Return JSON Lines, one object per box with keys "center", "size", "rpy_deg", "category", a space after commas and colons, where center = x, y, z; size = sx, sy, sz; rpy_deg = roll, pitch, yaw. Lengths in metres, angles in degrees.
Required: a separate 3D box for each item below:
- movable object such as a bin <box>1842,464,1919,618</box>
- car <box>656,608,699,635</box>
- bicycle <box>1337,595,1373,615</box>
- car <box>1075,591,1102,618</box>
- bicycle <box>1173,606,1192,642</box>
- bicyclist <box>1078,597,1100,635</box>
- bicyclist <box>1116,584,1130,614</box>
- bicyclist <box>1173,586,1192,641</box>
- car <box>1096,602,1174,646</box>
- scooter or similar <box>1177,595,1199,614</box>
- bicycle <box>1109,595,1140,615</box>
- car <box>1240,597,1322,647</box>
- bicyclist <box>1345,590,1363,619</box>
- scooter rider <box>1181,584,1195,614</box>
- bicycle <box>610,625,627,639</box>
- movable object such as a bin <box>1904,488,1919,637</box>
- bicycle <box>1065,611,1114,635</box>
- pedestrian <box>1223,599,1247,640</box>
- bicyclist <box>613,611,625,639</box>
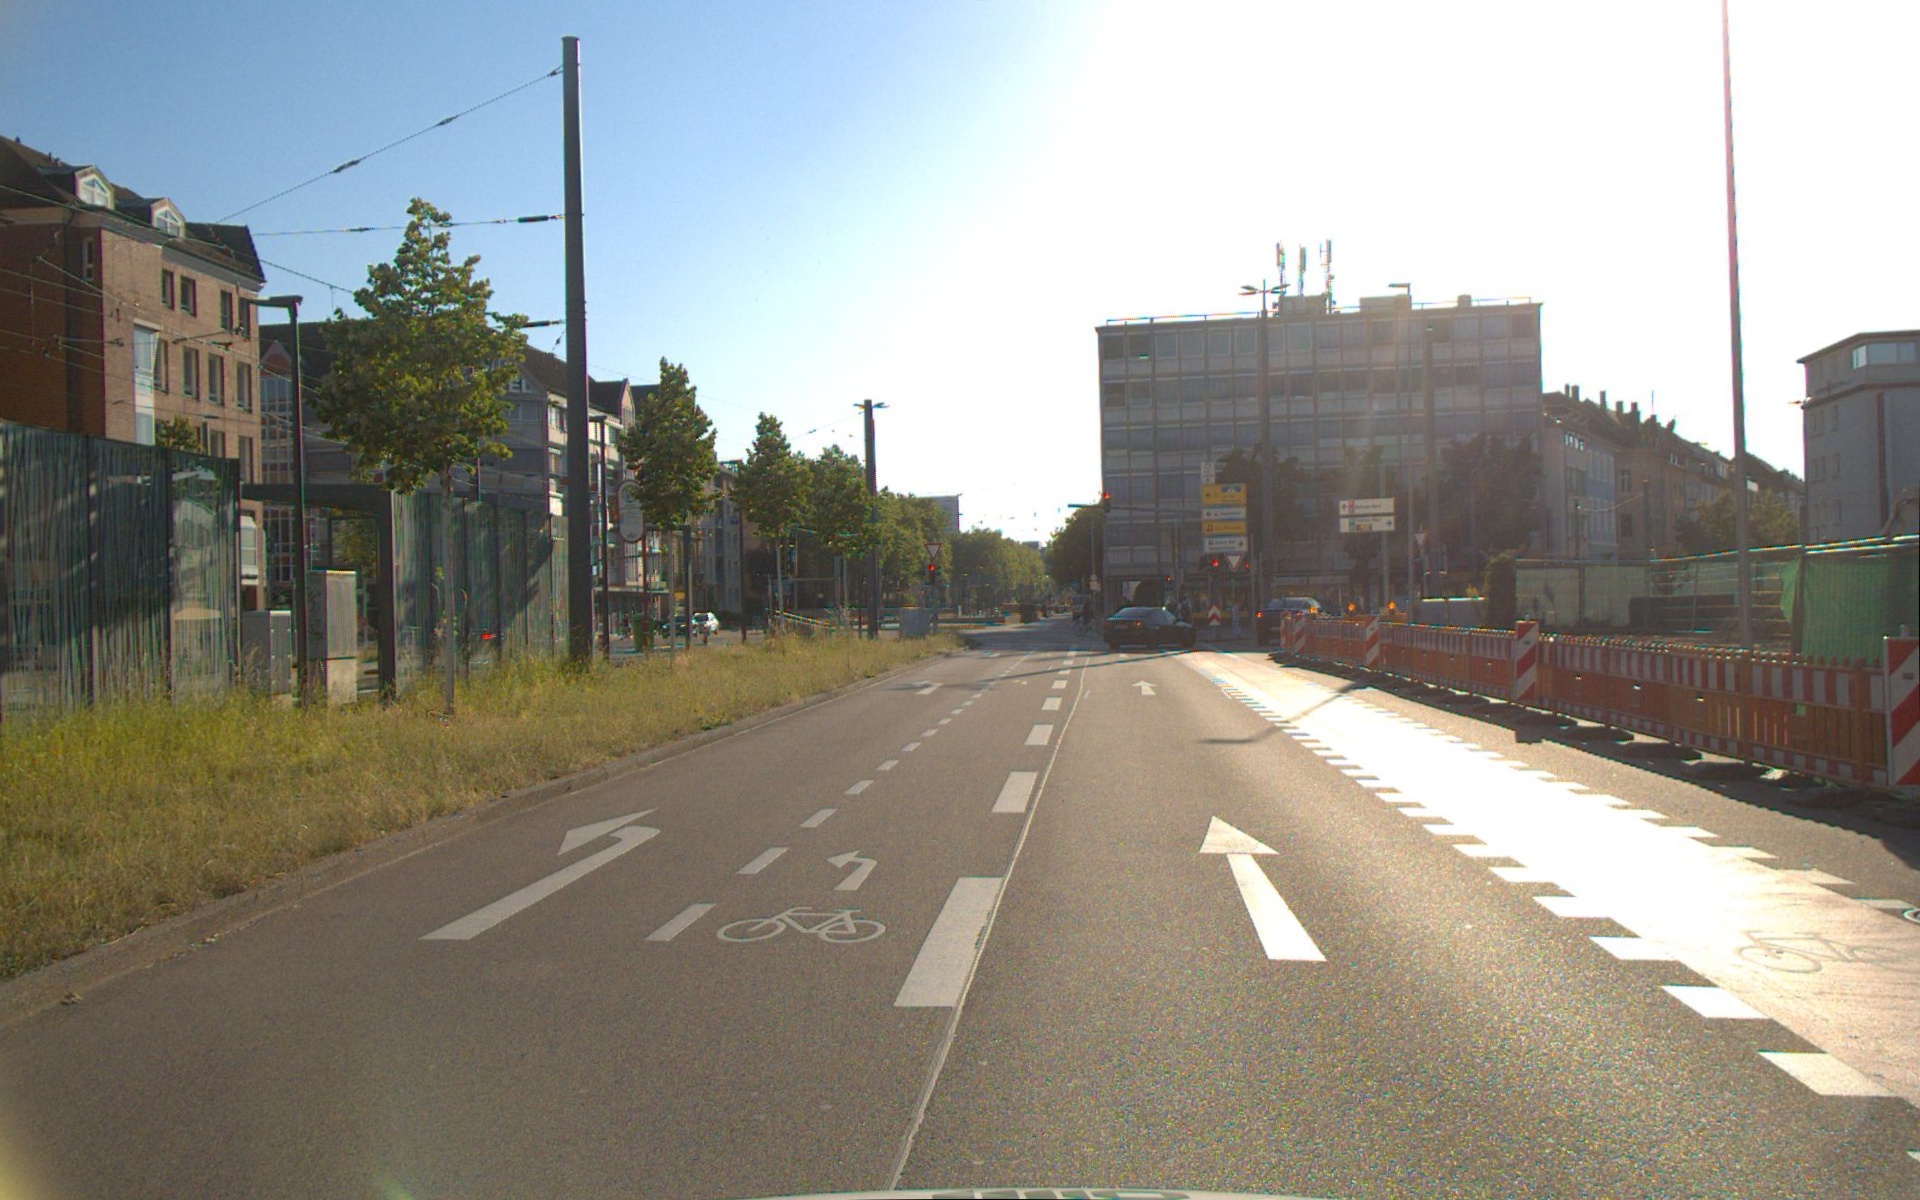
{"center": [24.665, -1.476, 39.777], "size": [5.947, 3.620, 2.856], "rpy_deg": [-2, 0, 30], "category": "movable object such as a bin"}
{"center": [-20.416, 1.537, 119.512], "size": [1.951, 1.892, 4.003], "rpy_deg": [-2, 0, 7], "category": "car"}
{"center": [24.285, 0.316, 101.632], "size": [2.051, 1.157, 0.658], "rpy_deg": [-2, 0, 0], "category": "bicycle"}
{"center": [12.412, 0.458, 160.080], "size": [2.434, 2.434, 5.937], "rpy_deg": [-3, -1, 4], "category": "car"}
{"center": [8.386, 0.888, 62.329], "size": [0.631, 1.244, 2.050], "rpy_deg": [0, 2, 5], "category": "bicycle"}
{"center": [5.860, 0.738, 75.329], "size": [0.938, 1.690, 0.692], "rpy_deg": [-1, 0, 8], "category": "bicyclist"}
{"center": [9.689, -0.041, 98.431], "size": [0.650, 1.742, 0.538], "rpy_deg": [-2, -1, -5], "category": "bicyclist"}
{"center": [8.402, 0.491, 62.478], "size": [0.630, 2.048, 1.068], "rpy_deg": [0, 1, 5], "category": "bicyclist"}
{"center": [6.115, 0.817, 57.430], "size": [1.708, 1.451, 4.000], "rpy_deg": [-1, 0, 21], "category": "car"}
{"center": [13.492, 0.259, 97.824], "size": [1.149, 1.091, 0.529], "rpy_deg": [-2, 0, -5], "category": "scooter or similar"}
{"center": [9.782, 0.305, 98.431], "size": [1.741, 1.091, 0.534], "rpy_deg": [-2, 0, -6], "category": "bicycle"}
{"center": [11.953, 0.780, 61.353], "size": [1.955, 1.723, 3.995], "rpy_deg": [0, 1, 27], "category": "car"}
{"center": [24.190, 0.277, 101.628], "size": [0.880, 1.783, 0.655], "rpy_deg": [-2, 0, 0], "category": "bicyclist"}
{"center": [13.483, -0.074, 97.822], "size": [0.650, 1.742, 0.526], "rpy_deg": [-2, -1, -5], "category": "scooter rider"}
{"center": [-23.612, 2.225, 114.453], "size": [0.586, 0.931, 1.837], "rpy_deg": [-2, 0, 6], "category": "bicycle"}
{"center": [18.705, -0.715, 28.528], "size": [2.228, 2.751, 4.945], "rpy_deg": [-2, 0, 4], "category": "movable object such as a bin"}
{"center": [5.887, 1.044, 75.319], "size": [2.179, 1.044, 0.683], "rpy_deg": [-1, 0, 8], "category": "bicycle"}
{"center": [11.152, 0.782, 67.143], "size": [0.860, 1.625, 0.655], "rpy_deg": [-2, 0, 4], "category": "pedestrian"}
{"center": [-23.594, 1.704, 114.526], "size": [0.580, 1.894, 0.642], "rpy_deg": [-2, 0, 6], "category": "bicyclist"}
